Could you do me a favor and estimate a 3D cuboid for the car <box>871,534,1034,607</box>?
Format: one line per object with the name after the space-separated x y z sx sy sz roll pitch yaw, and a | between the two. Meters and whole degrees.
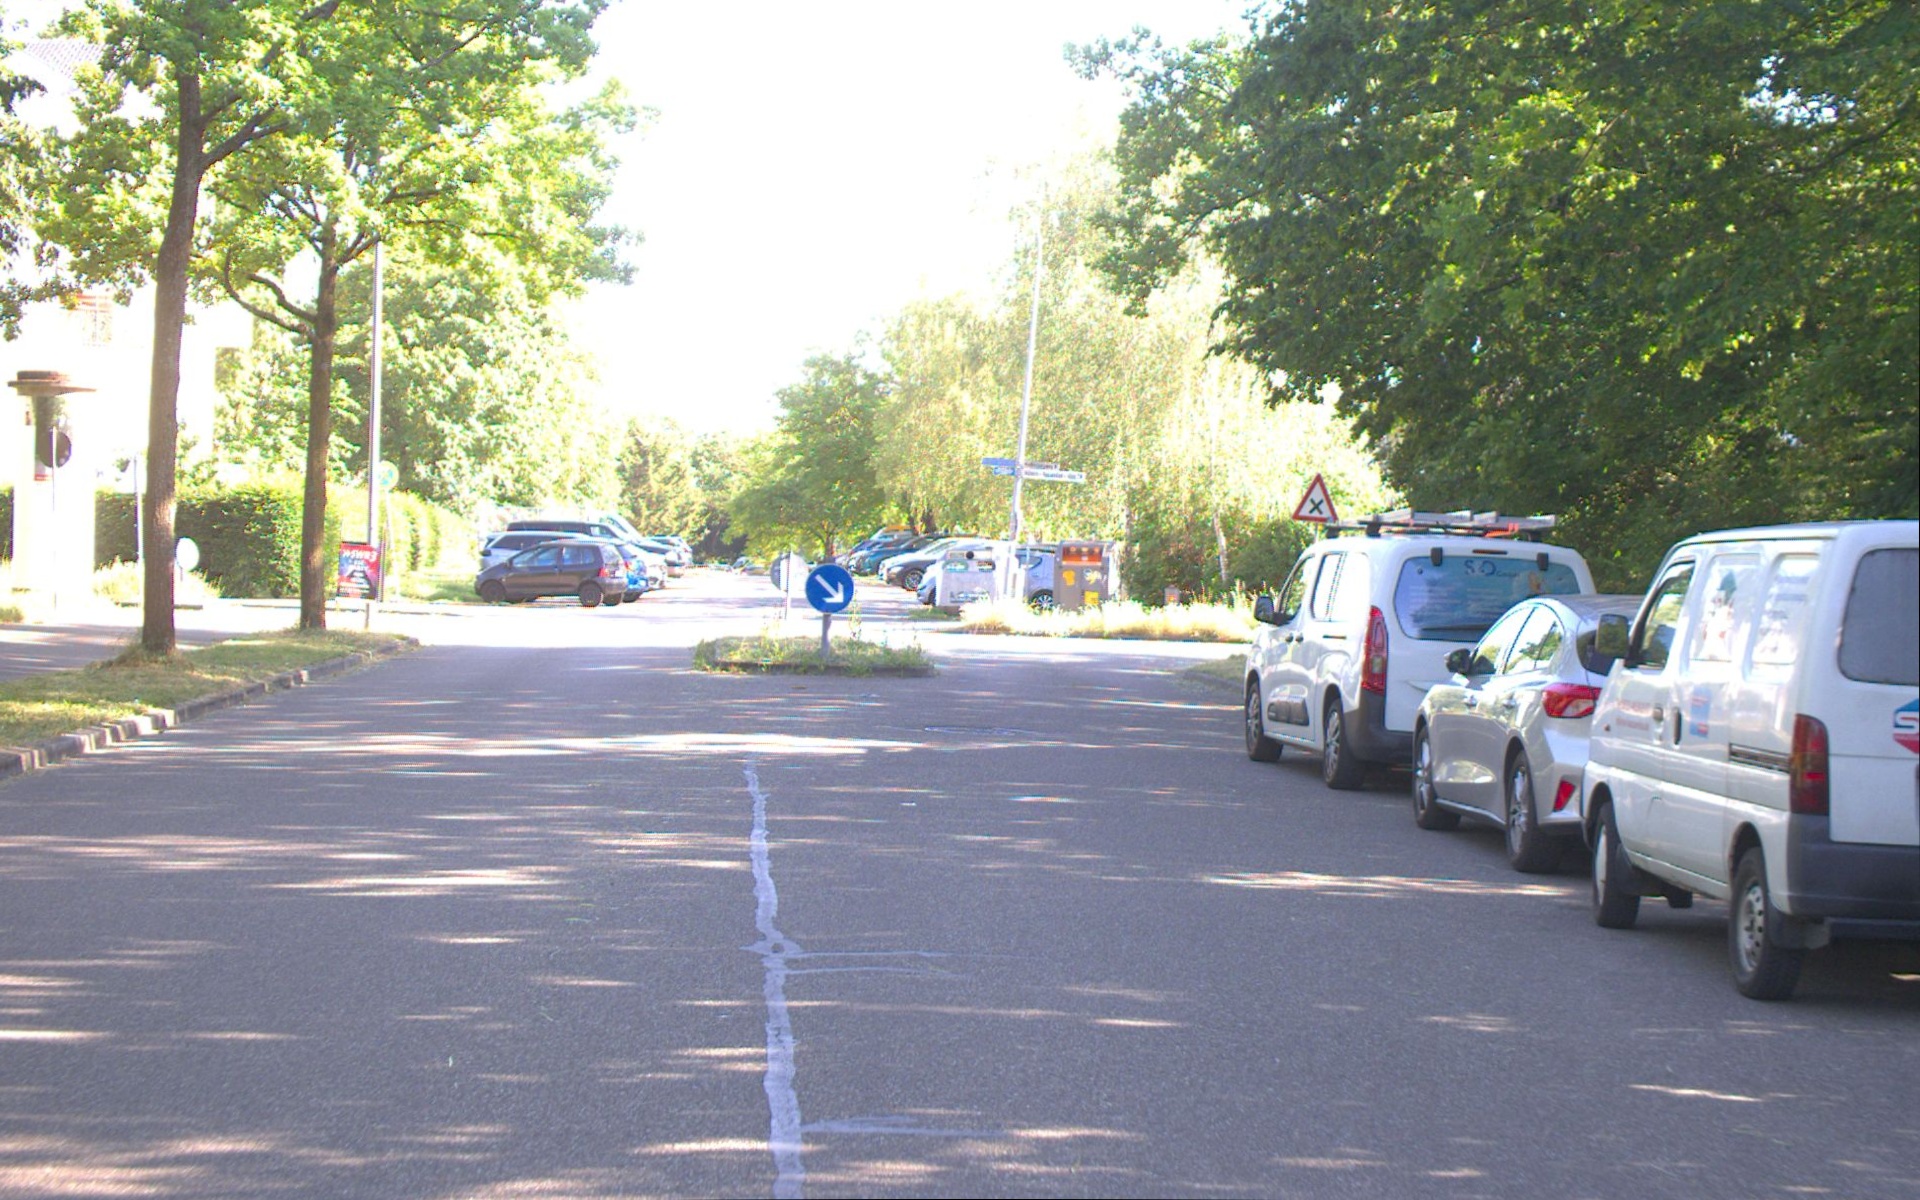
-0.163 -0.728 85.025 3.839 1.571 1.688 3 1 4 | car

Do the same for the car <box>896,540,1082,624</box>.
0.643 -0.403 74.422 3.839 1.571 1.688 3 1 4 | car

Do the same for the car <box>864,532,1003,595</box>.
-0.754 -1.065 99.818 3.839 1.571 1.688 3 1 4 | car

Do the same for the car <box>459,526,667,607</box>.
-9.045 -0.760 78.538 4.319 1.571 2.046 3 1 4 | car

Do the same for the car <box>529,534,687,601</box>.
-9.691 -0.906 94.832 4.106 1.571 1.958 3 1 -1 | car

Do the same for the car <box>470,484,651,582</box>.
-12.057 -2.023 103.673 5.198 2.612 2.294 3 1 -7 | car

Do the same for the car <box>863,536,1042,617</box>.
-0.155 -0.533 77.214 3.839 1.571 1.688 3 1 4 | car

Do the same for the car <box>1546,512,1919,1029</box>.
3.599 0.596 13.764 1.623 1.767 3.669 3 1 -3 | car

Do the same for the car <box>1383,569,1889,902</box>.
3.573 0.648 18.950 1.691 1.507 4.207 3 1 -3 | car

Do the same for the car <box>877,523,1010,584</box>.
-0.482 -1.385 102.959 3.839 1.571 1.688 3 1 2 | car

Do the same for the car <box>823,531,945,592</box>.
-2.506 -1.279 114.026 3.839 1.789 1.688 3 1 2 | car

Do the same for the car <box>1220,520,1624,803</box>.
3.244 0.368 25.085 1.790 1.779 4.558 3 1 -6 | car

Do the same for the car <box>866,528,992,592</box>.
-0.960 -1.260 109.149 3.839 1.789 1.688 3 1 2 | car
